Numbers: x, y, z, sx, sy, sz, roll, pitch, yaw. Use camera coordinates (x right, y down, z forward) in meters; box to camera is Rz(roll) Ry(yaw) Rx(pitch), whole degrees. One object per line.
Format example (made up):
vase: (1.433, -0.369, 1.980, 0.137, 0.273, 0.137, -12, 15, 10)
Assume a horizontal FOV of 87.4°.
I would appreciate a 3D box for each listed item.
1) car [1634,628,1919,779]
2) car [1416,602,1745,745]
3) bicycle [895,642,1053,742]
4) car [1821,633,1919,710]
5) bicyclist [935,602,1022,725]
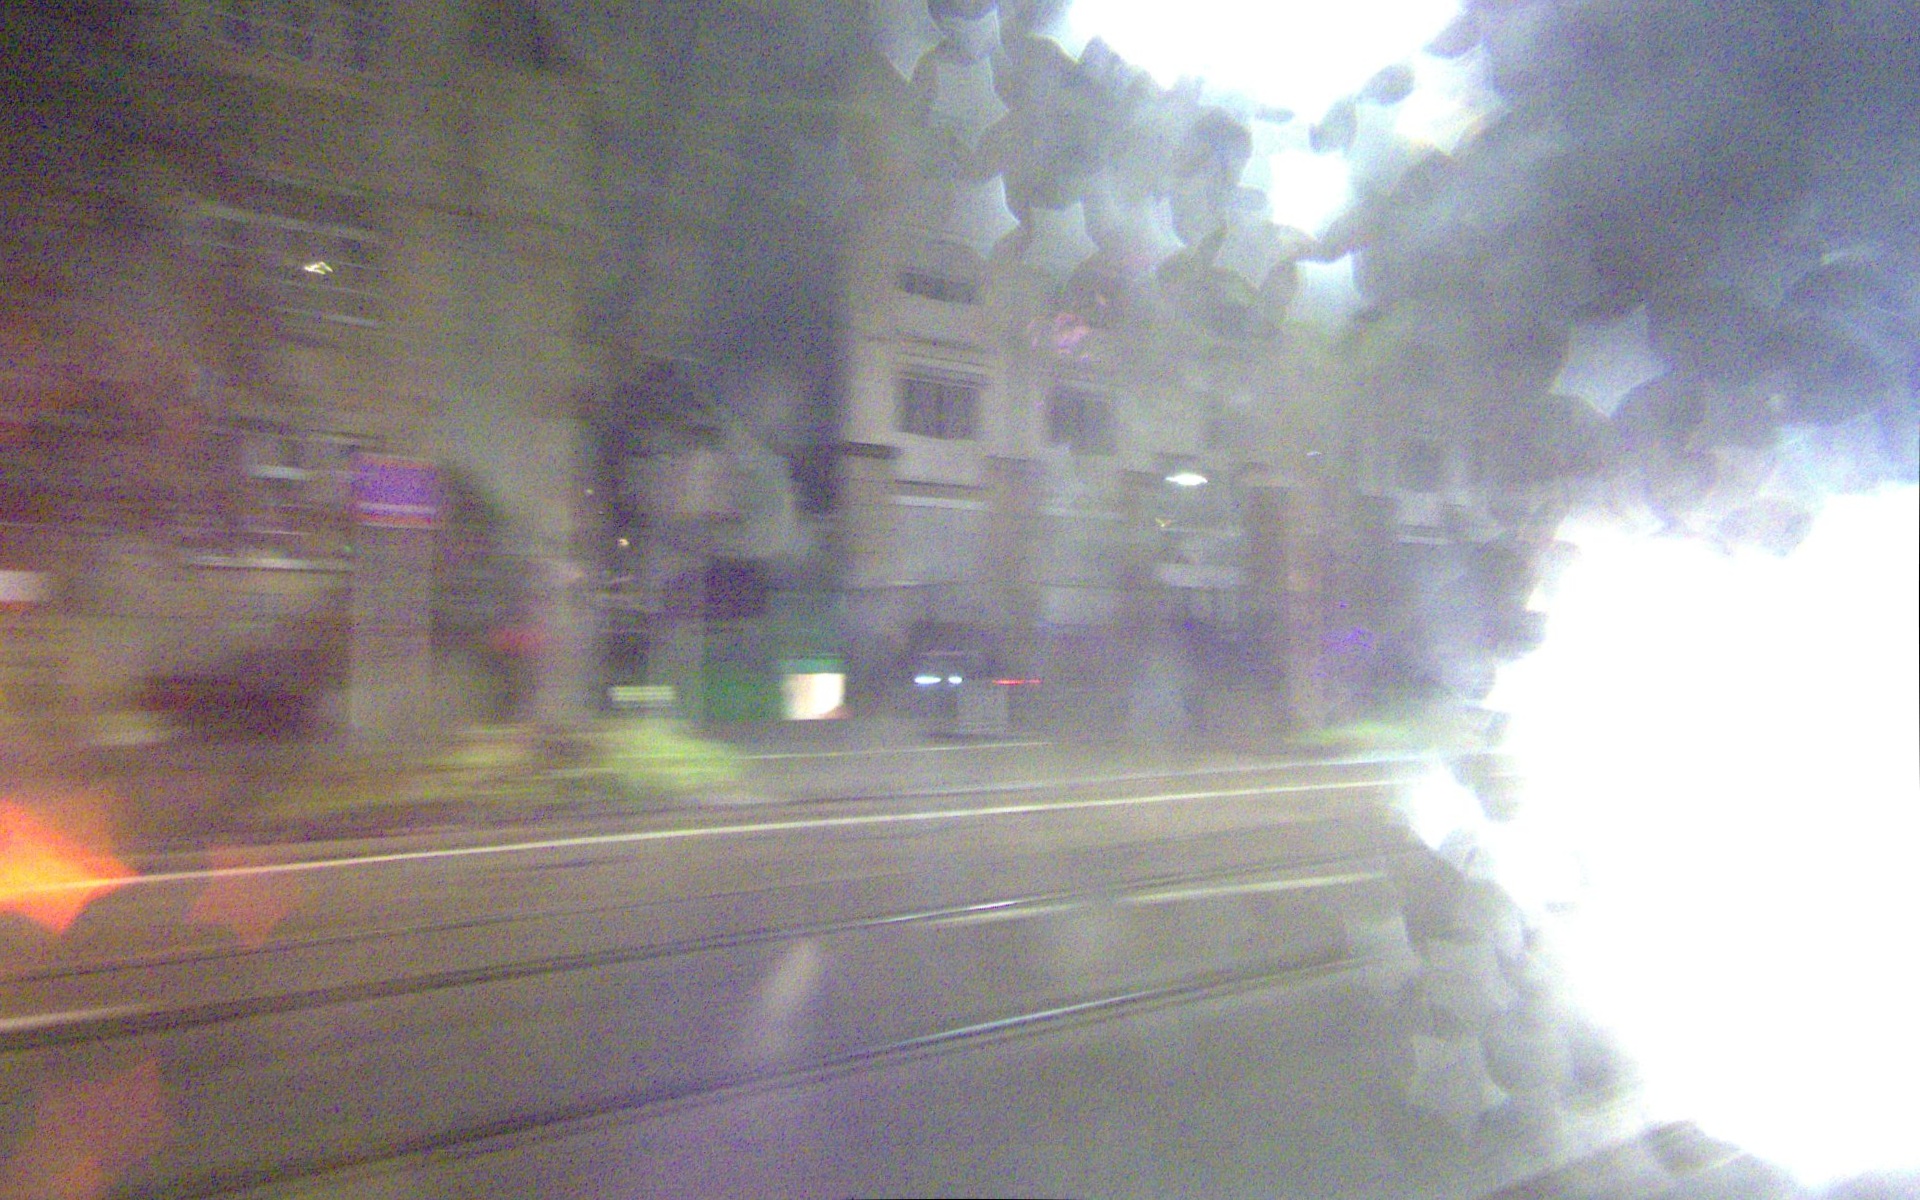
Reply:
car: (9.871, 1.072, 11.663, 3.851, 1.484, 1.786, 1, -1, -28)
car: (9.707, 1.003, 15.628, 5.243, 1.850, 1.985, 0, 2, -29)
bicycle: (0.184, 1.150, 12.671, 1.872, 1.157, 0.652, 2, 1, -25)
car: (20.131, 1.462, 21.128, 4.092, 1.425, 1.757, 1, 1, -30)
bicyclist: (0.225, 0.788, 12.681, 0.856, 1.484, 0.652, 2, 1, -25)
